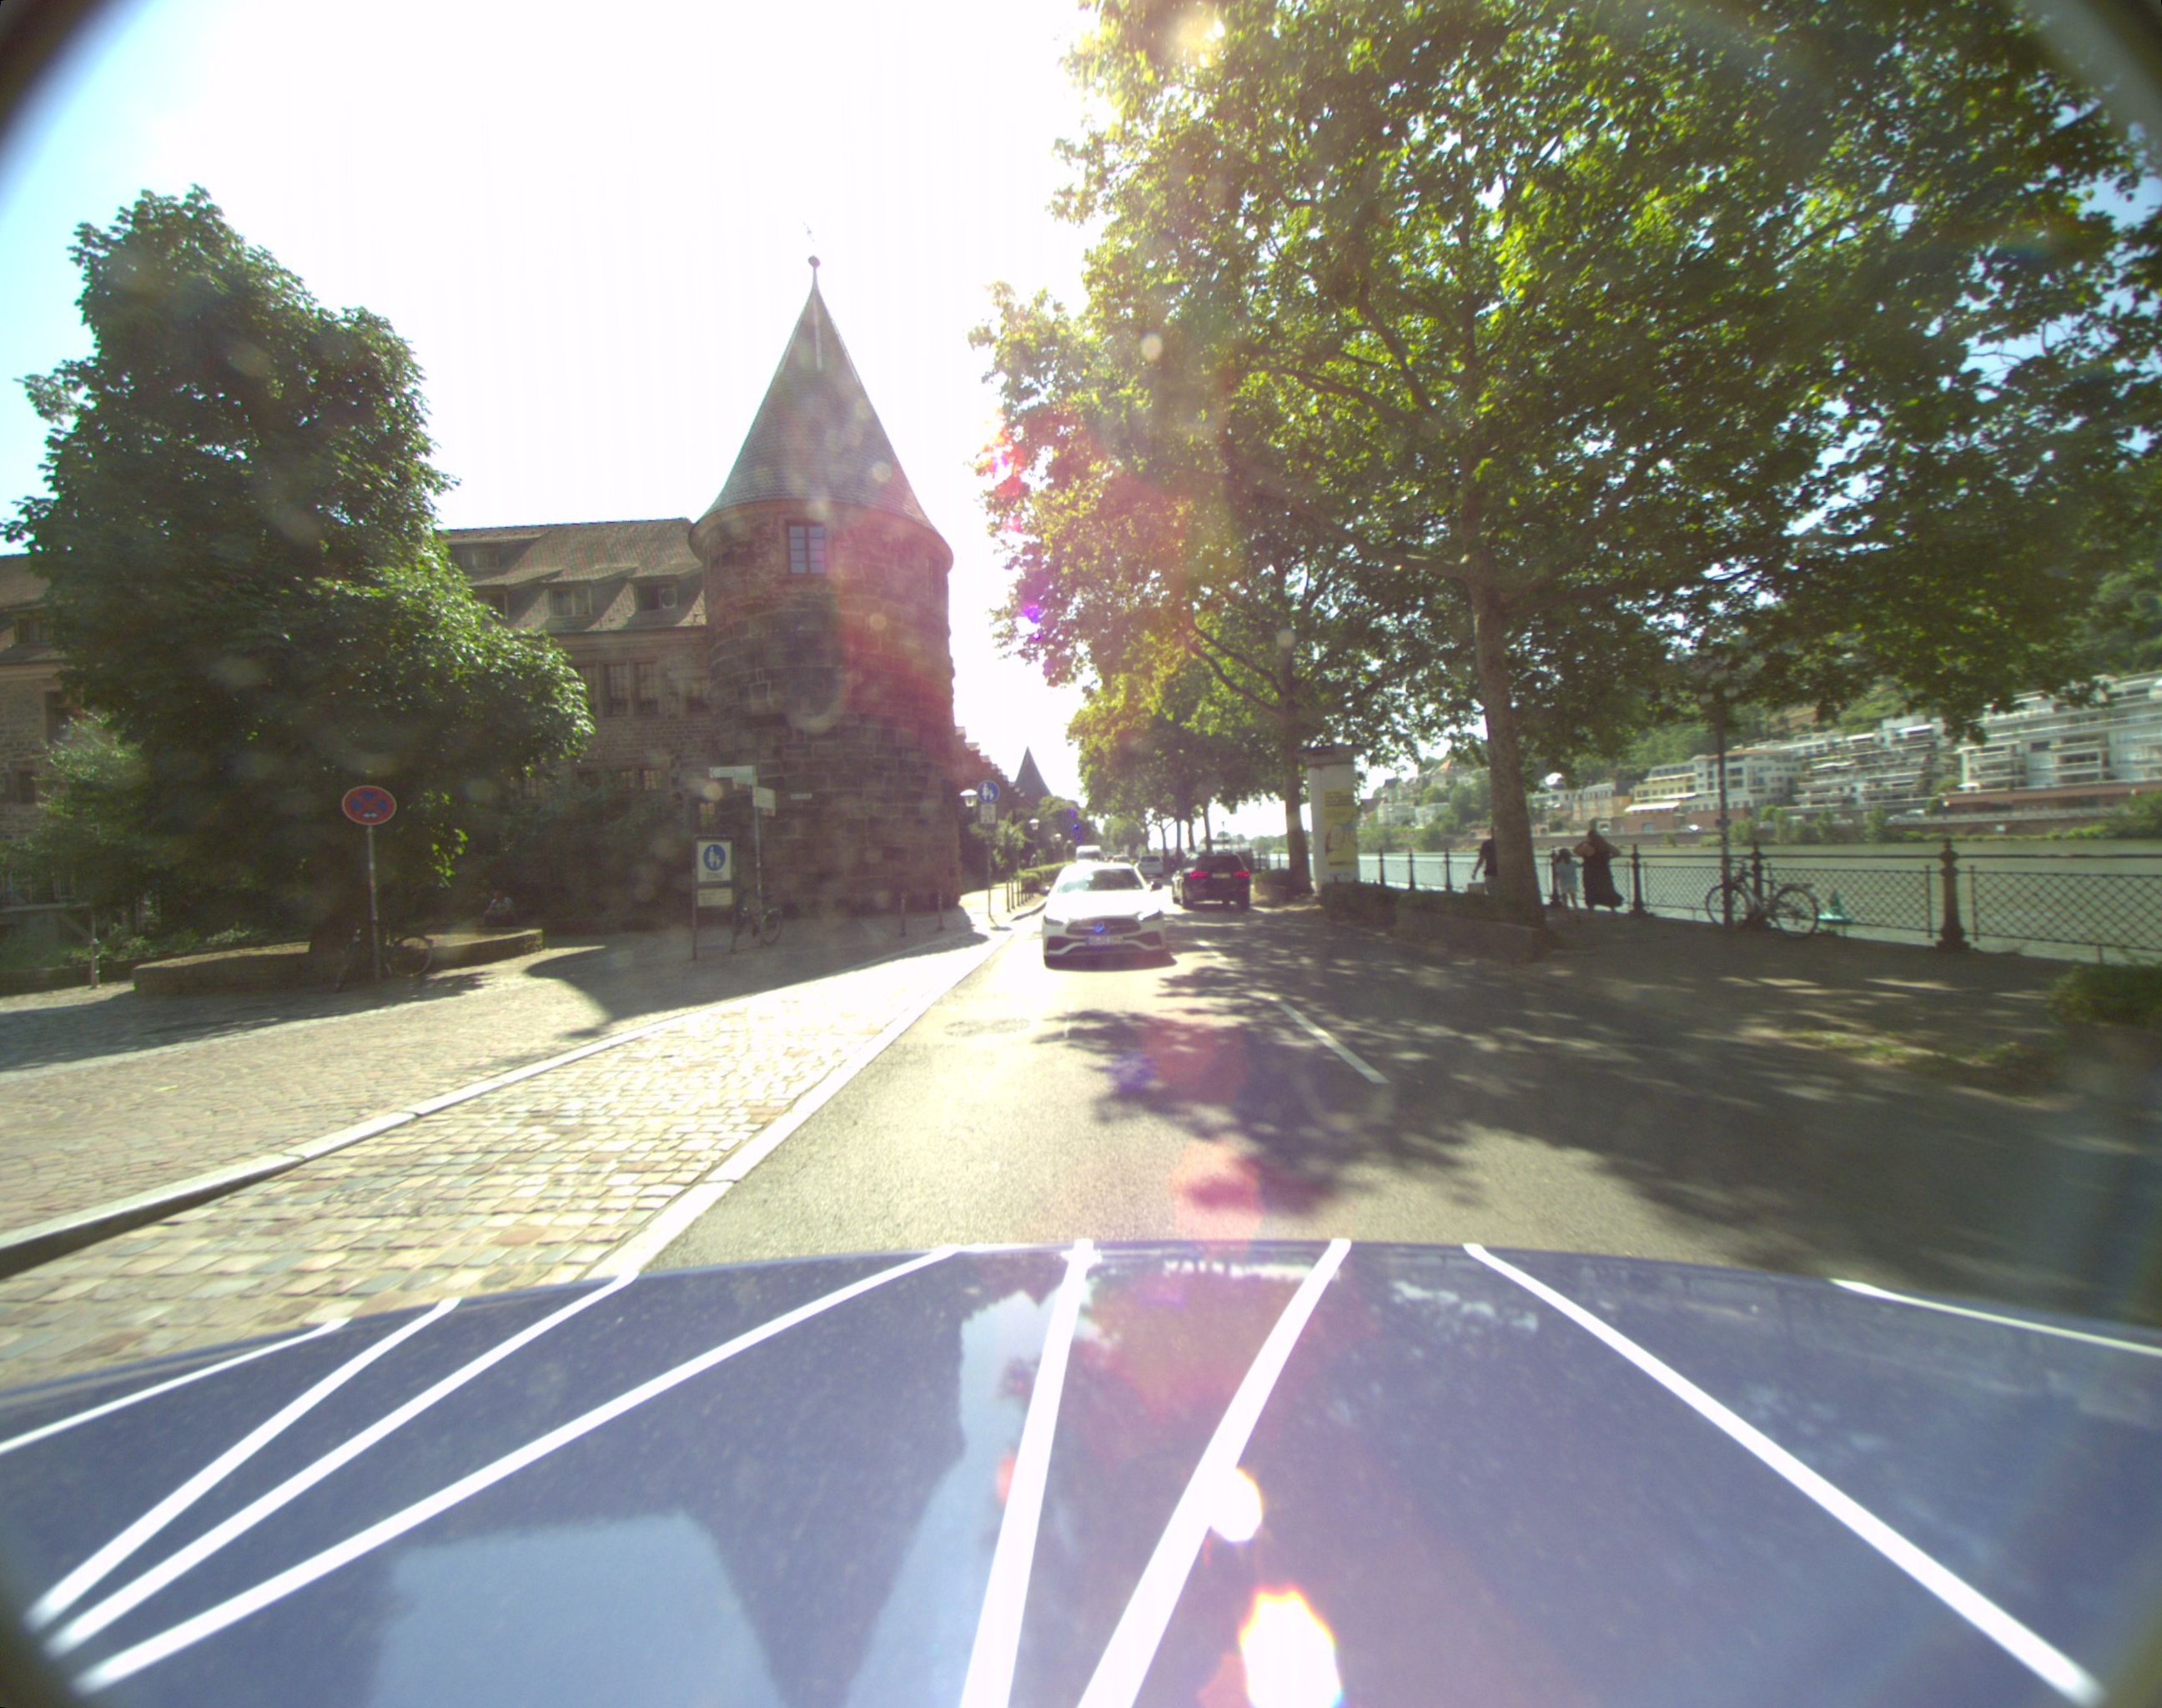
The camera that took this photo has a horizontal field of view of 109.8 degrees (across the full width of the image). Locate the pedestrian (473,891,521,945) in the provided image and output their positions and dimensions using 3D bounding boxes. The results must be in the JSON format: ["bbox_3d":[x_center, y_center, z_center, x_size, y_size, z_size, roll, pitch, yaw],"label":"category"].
[{"bbox_3d":[-14.405,1.562,18.749,0.667,1.224,0.781,-3,1,-19],"label":"pedestrian"}]

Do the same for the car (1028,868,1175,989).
[{"bbox_3d":[0.346,1.005,12.216,1.875,1.416,4.745,-2,0,2],"label":"car"}]

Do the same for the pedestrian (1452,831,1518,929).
[{"bbox_3d":[7.421,0.467,13.984,0.760,1.720,0.730,-3,1,1],"label":"pedestrian"}]

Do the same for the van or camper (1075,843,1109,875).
[{"bbox_3d":[0.881,0.365,60.698,2.437,2.271,6.203,-3,0,1],"label":"van or camper"}]

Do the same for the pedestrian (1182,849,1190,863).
[{"bbox_3d":[12.249,0.226,88.540,0.760,1.696,0.730,-2,1,3],"label":"pedestrian"}]

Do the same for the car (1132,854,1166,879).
[{"bbox_3d":[4.753,0.859,53.476,1.998,1.598,4.257,-3,0,1],"label":"car"}]

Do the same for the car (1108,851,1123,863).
[{"bbox_3d":[4.979,0.393,111.381,1.998,1.598,4.257,-3,0,1],"label":"car"}]

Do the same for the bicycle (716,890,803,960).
[{"bbox_3d":[-6.216,1.343,14.821,0.845,1.146,1.844,-3,1,1],"label":"bicycle"}]

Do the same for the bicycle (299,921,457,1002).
[{"bbox_3d":[-10.972,1.646,11.947,0.659,0.996,1.714,-3,0,11],"label":"bicycle"}]

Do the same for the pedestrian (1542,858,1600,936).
[{"bbox_3d":[8.653,0.751,13.431,0.633,1.312,0.553,-3,1,1],"label":"pedestrian"}]

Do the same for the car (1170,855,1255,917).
[{"bbox_3d":[3.852,0.896,23.034,1.875,1.661,4.745,-1,0,2],"label":"car"}]

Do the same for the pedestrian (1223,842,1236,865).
[{"bbox_3d":[11.551,-0.031,59.033,0.760,1.697,0.730,-3,1,1],"label":"pedestrian"}]

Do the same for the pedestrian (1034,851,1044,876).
[{"bbox_3d":[-3.198,0.737,57.630,0.556,1.844,1.023,-3,1,1],"label":"pedestrian"}]

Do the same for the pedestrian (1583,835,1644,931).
[{"bbox_3d":[9.303,0.501,13.287,0.633,1.618,0.553,-3,1,1],"label":"pedestrian"}]

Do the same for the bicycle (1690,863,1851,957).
[{"bbox_3d":[9.670,0.739,10.762,0.564,1.146,1.844,-4,1,1],"label":"bicycle"}]

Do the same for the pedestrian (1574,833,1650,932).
[{"bbox_3d":[9.372,0.495,13.433,0.793,1.674,0.709,-3,1,1],"label":"pedestrian"}]
